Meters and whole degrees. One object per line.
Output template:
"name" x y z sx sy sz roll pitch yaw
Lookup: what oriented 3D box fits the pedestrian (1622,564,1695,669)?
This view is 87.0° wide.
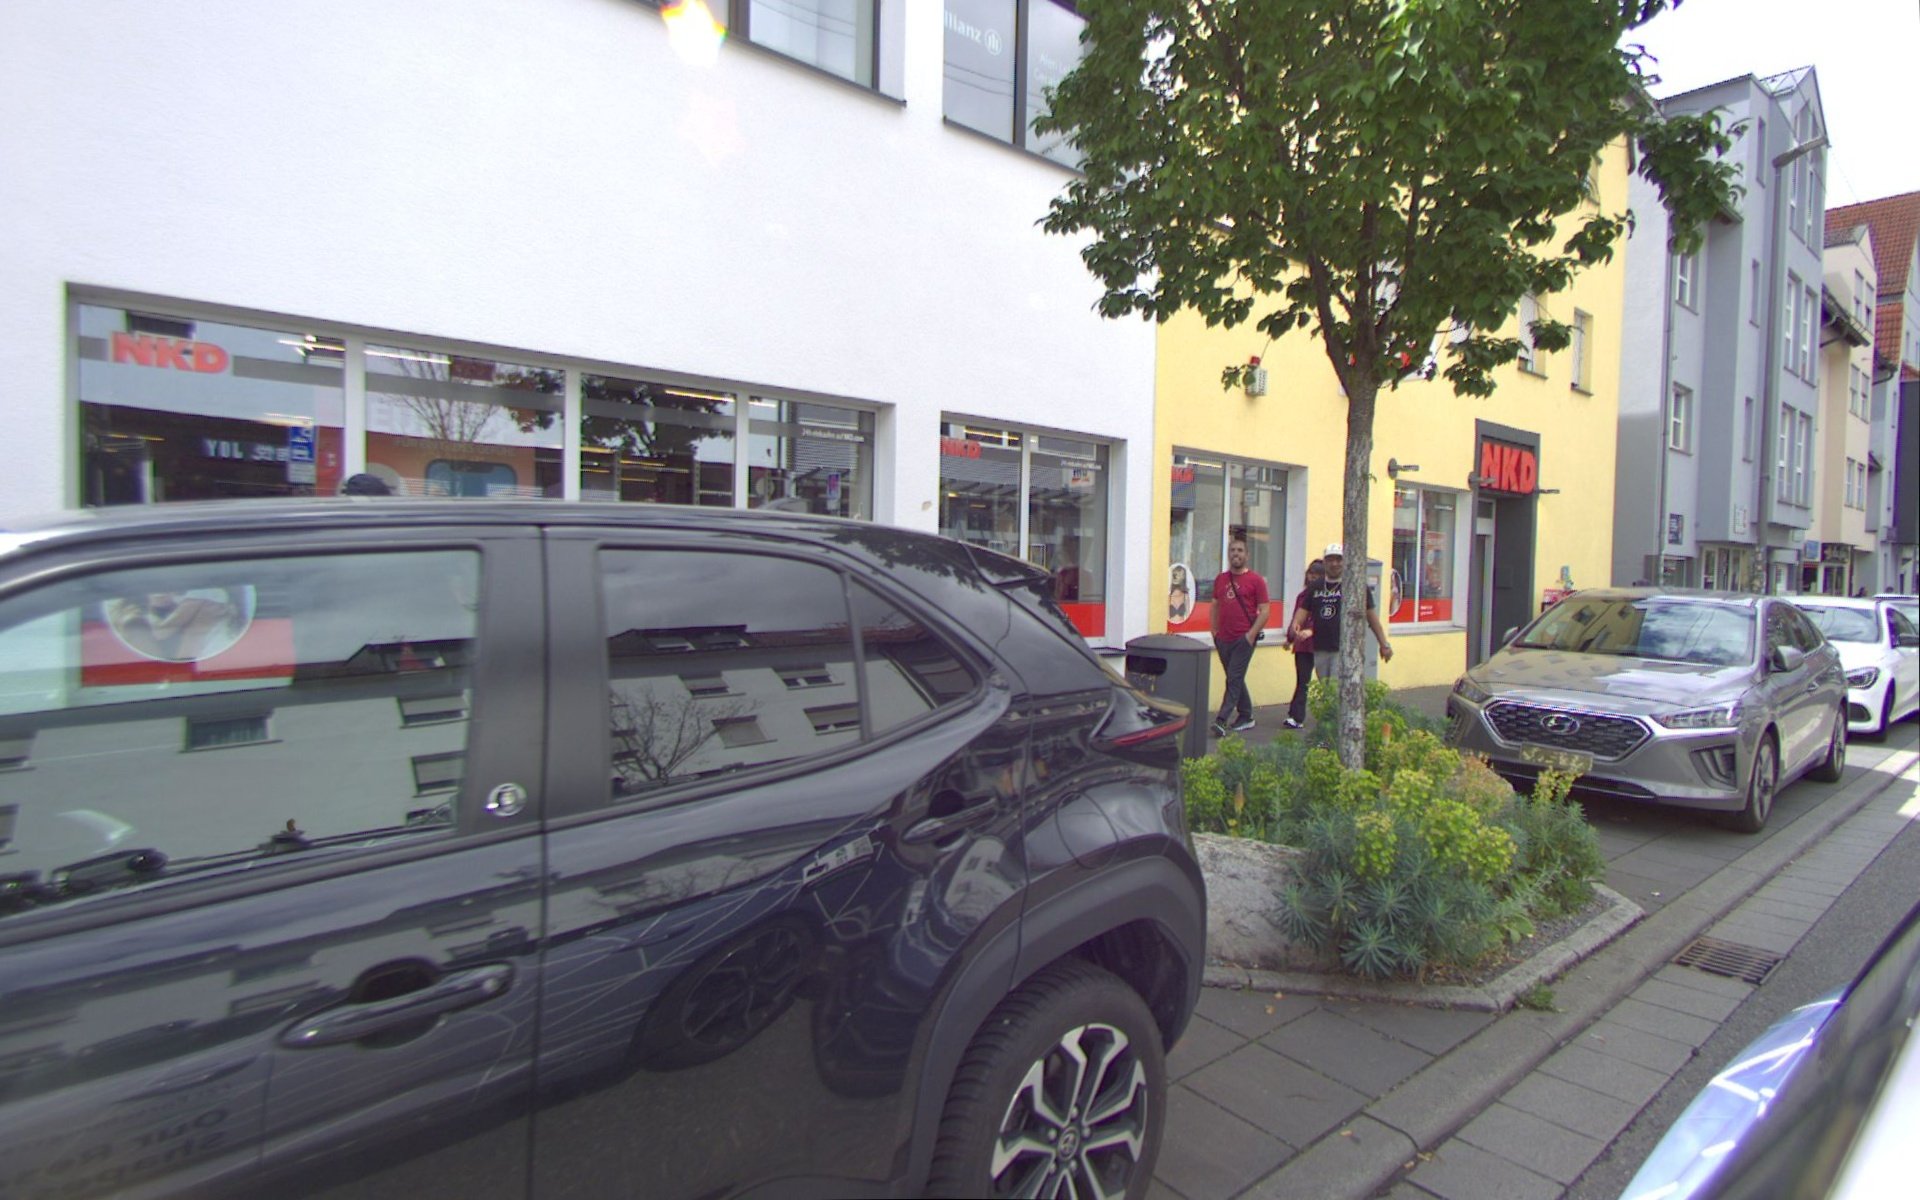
"pedestrian" 10.918 0.240 15.817 0.713 1.572 0.751 -1 2 -41

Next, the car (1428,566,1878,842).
"car" 5.322 0.522 7.534 4.278 1.494 1.724 -1 1 -41

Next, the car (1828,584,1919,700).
"car" 13.960 0.585 14.622 4.446 1.491 1.691 2 -1 -43

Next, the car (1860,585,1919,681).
"car" 17.610 0.537 18.221 3.691 1.593 1.692 -1 1 -42

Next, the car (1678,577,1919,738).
"car" 9.960 0.491 11.561 4.868 1.494 1.634 -1 1 -39

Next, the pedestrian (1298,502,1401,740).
"pedestrian" 3.198 0.157 8.317 0.566 1.863 0.589 -1 0 -40

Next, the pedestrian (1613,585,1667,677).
"pedestrian" 10.432 0.466 15.536 0.527 1.381 0.447 1 1 -24

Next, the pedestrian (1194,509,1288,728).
"pedestrian" 2.504 0.150 9.036 0.566 1.863 0.589 -1 0 -40

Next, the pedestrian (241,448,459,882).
"pedestrian" -2.792 0.256 4.625 0.743 1.759 0.743 -1 1 -40

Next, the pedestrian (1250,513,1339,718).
"pedestrian" 3.173 0.136 9.593 0.566 1.863 0.589 -1 0 -40

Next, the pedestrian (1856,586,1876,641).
"pedestrian" 29.351 0.433 32.773 0.528 1.739 0.436 -1 0 -43

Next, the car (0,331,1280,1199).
"car" -1.297 0.545 1.688 4.039 1.596 1.723 -1 1 -43

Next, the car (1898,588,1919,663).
"car" 21.185 0.554 21.386 4.225 1.457 1.692 -1 5 -44

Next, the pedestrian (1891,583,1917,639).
"pedestrian" 29.978 0.342 32.137 0.596 1.739 0.536 -1 0 -42
